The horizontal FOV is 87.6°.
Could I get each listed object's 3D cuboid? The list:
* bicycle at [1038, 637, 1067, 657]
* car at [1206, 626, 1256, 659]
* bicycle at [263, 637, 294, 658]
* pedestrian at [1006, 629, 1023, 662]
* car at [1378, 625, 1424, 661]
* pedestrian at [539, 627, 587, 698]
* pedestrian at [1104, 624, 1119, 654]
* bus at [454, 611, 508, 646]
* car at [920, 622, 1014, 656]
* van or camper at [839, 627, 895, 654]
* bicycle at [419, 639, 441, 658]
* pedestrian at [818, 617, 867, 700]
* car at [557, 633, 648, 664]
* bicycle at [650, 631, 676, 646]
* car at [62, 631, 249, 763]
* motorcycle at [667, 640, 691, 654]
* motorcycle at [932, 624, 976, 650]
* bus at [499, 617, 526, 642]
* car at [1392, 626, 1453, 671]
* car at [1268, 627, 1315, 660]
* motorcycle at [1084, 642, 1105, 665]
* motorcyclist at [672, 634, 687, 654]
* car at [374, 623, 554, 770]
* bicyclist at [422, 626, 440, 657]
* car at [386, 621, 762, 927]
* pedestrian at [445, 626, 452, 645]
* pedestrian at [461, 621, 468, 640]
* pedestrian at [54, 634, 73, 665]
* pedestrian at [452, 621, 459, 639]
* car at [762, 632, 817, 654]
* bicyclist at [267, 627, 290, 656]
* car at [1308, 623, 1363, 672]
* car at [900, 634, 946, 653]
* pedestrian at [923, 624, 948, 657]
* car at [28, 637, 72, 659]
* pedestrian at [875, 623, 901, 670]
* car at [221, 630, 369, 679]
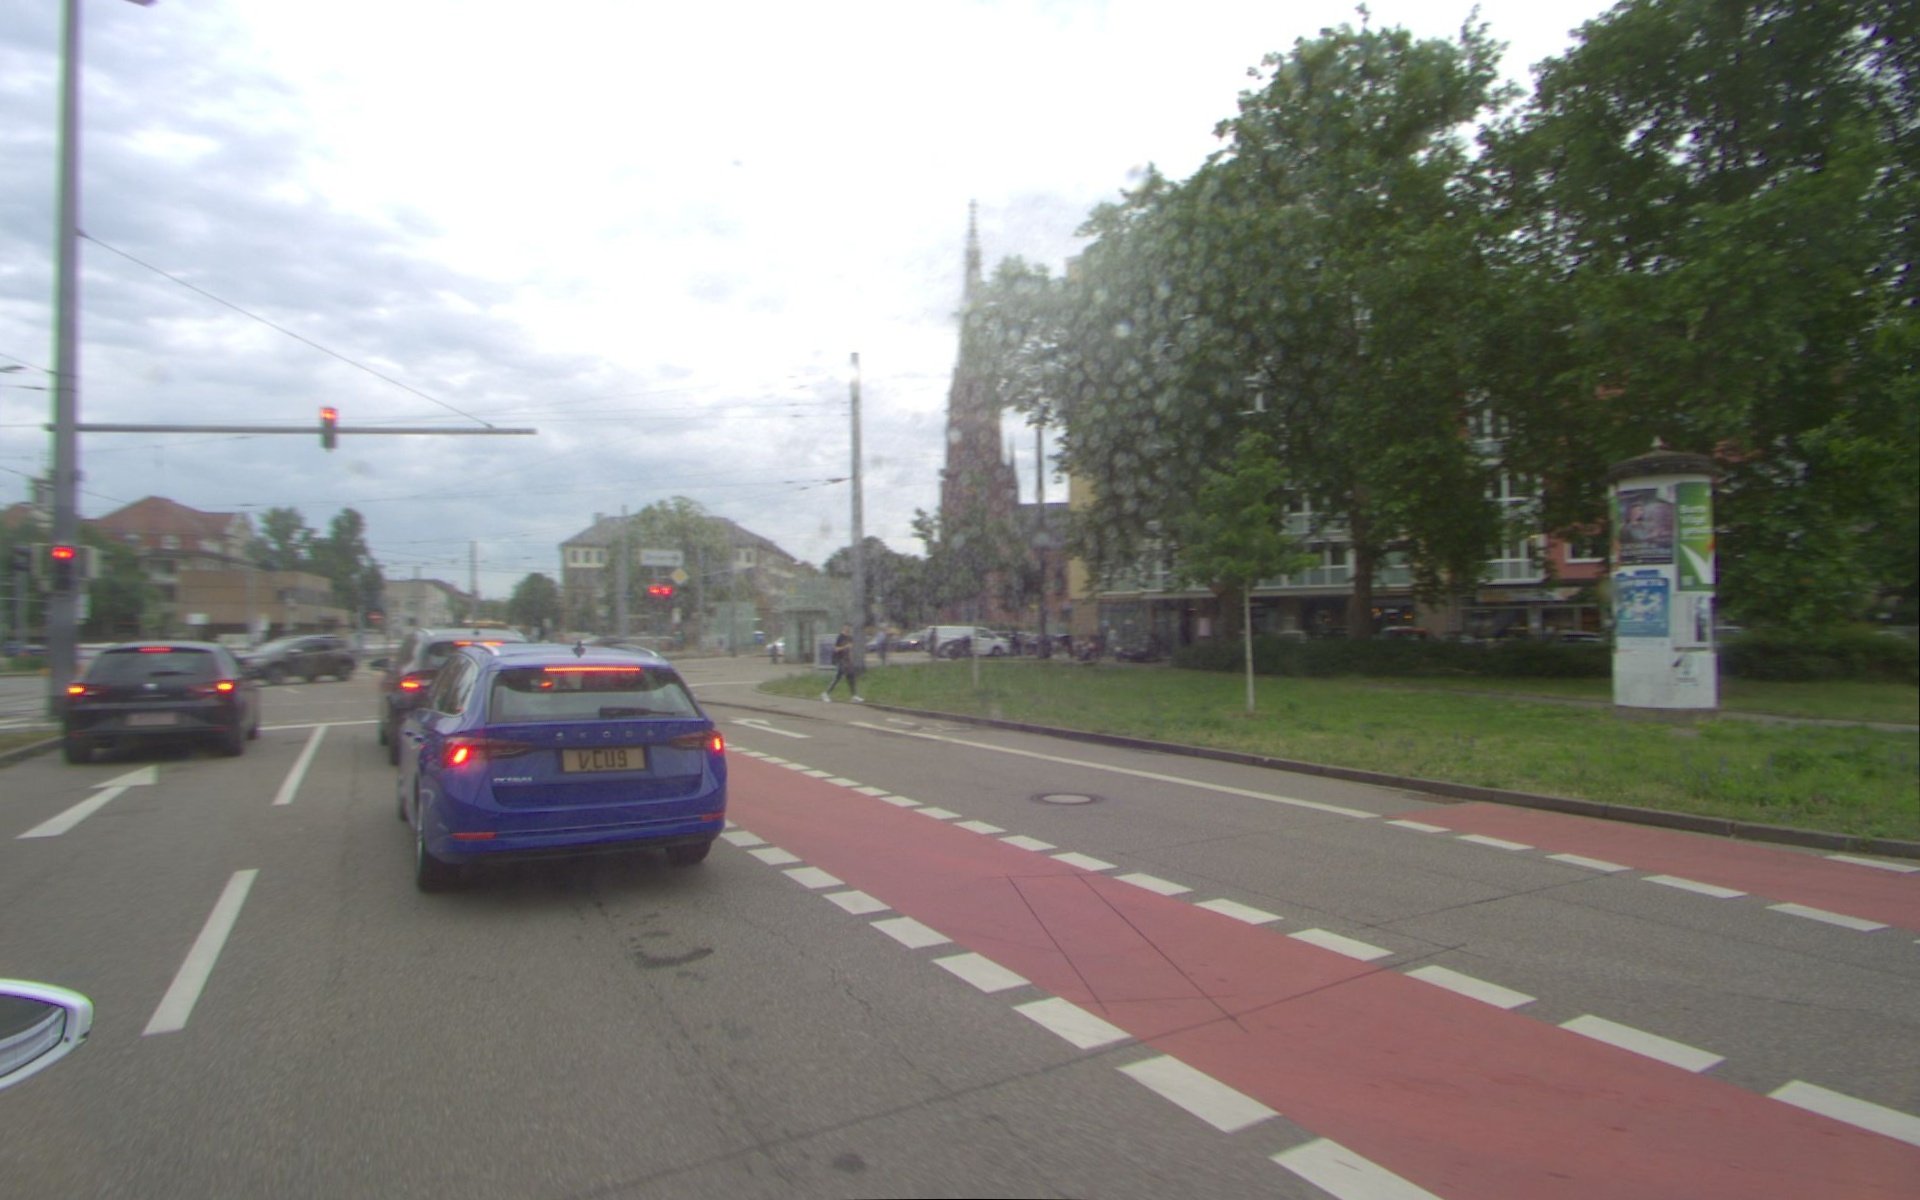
[{"bbox_3d":[4.383,2.201,47.419,1.245,0.929,0.592,-1,-1,28],"label":"bicycle"},{"bbox_3d":[13.388,2.062,49.284,1.830,1.508,4.466,-1,-2,22],"label":"car"},{"bbox_3d":[-40.888,2.833,60.061,2.272,1.193,0.889,-1,-2,37],"label":"bicycle"},{"bbox_3d":[2.778,2.311,50.938,0.627,1.659,0.869,0,-1,25],"label":"pedestrian"},{"bbox_3d":[20.389,1.948,46.412,1.830,1.567,4.466,-1,-2,22],"label":"car"},{"bbox_3d":[-11.080,1.722,27.982,0.722,1.931,1.103,0,-2,16],"label":"pedestrian"},{"bbox_3d":[8.460,2.169,55.812,0.627,1.659,0.784,0,-1,25],"label":"pedestrian"},{"bbox_3d":[-45.116,2.704,94.607,2.918,3.163,11.520,0,-2,-17],"label":"bus"},{"bbox_3d":[0.434,2.480,64.070,5.633,2.039,2.026,-1,-2,-14],"label":"car"},{"bbox_3d":[-7.524,3.295,81.602,2.161,2.039,5.139,-2,-3,27],"label":"van or camper"},{"bbox_3d":[-32.738,2.975,61.813,0.858,1.119,2.286,1,-2,-36],"label":"bicycle"},{"bbox_3d":[-2.684,1.317,22.839,0.968,1.868,0.536,-1,-1,15],"label":"pedestrian"},{"bbox_3d":[-17.866,2.394,50.257,1.672,1.414,4.378,-1,-2,26],"label":"car"},{"bbox_3d":[-27.464,3.559,92.480,2.233,1.348,0.705,0,-2,-25],"label":"bicycle"},{"bbox_3d":[-10.455,1.148,13.252,1.689,1.467,3.786,1,-2,-35],"label":"car"},{"bbox_3d":[-23.758,3.981,84.571,0.732,1.153,2.135,-1,-1,25],"label":"motorcycle"},{"bbox_3d":[-0.252,1.711,46.252,0.757,1.183,2.370,-1,-2,37],"label":"motorcycle"},{"bbox_3d":[-60.505,3.987,135.646,2.617,3.325,10.970,0,-2,-20],"label":"bus"},{"bbox_3d":[17.005,1.742,36.954,1.830,1.567,4.466,-1,-2,22],"label":"car"},{"bbox_3d":[15.941,2.041,48.069,1.830,1.508,4.466,-1,-2,22],"label":"car"},{"bbox_3d":[6.113,2.428,45.454,0.857,1.010,1.014,0,-1,11],"label":"motorcycle"},{"bbox_3d":[-23.700,3.716,84.688,0.738,1.671,0.977,-1,-1,25],"label":"motorcyclist"},{"bbox_3d":[-6.769,1.135,13.397,1.759,1.617,4.485,1,-2,-32],"label":"car"},{"bbox_3d":[-32.815,2.580,62.119,0.863,1.875,1.040,0,-1,-37],"label":"bicyclist"},{"bbox_3d":[-3.089,0.943,7.322,1.761,1.507,4.441,0,-2,-32],"label":"car"},{"bbox_3d":[-52.321,3.593,102.384,0.613,1.943,0.696,0,-1,-22],"label":"pedestrian"},{"bbox_3d":[-51.301,3.141,103.630,0.613,1.943,0.696,0,-1,-22],"label":"pedestrian"},{"bbox_3d":[-46.095,2.527,51.497,0.723,1.561,0.413,1,-1,-44],"label":"pedestrian"},{"bbox_3d":[-52.519,3.118,104.259,0.614,1.943,0.707,0,-1,-28],"label":"pedestrian"},{"bbox_3d":[-12.004,3.007,70.708,1.748,1.482,3.986,-2,-3,27],"label":"car"},{"bbox_3d":[-40.883,2.487,60.067,0.883,1.754,0.880,-1,-1,37],"label":"bicyclist"},{"bbox_3d":[14.312,1.757,38.060,1.830,1.744,4.466,-1,-2,22],"label":"car"},{"bbox_3d":[-3.195,3.773,87.239,1.835,1.567,4.454,-2,-3,31],"label":"car"},{"bbox_3d":[-1.364,2.297,56.405,1.070,1.820,0.944,-2,-2,27],"label":"pedestrian"},{"bbox_3d":[-74.090,3.893,81.501,3.950,1.705,1.987,-3,-3,37],"label":"car"},{"bbox_3d":[-3.014,1.941,41.814,0.872,1.955,1.017,0,-1,10],"label":"pedestrian"},{"bbox_3d":[-23.720,1.897,35.911,1.772,1.661,4.223,-1,-2,19],"label":"car"}]
